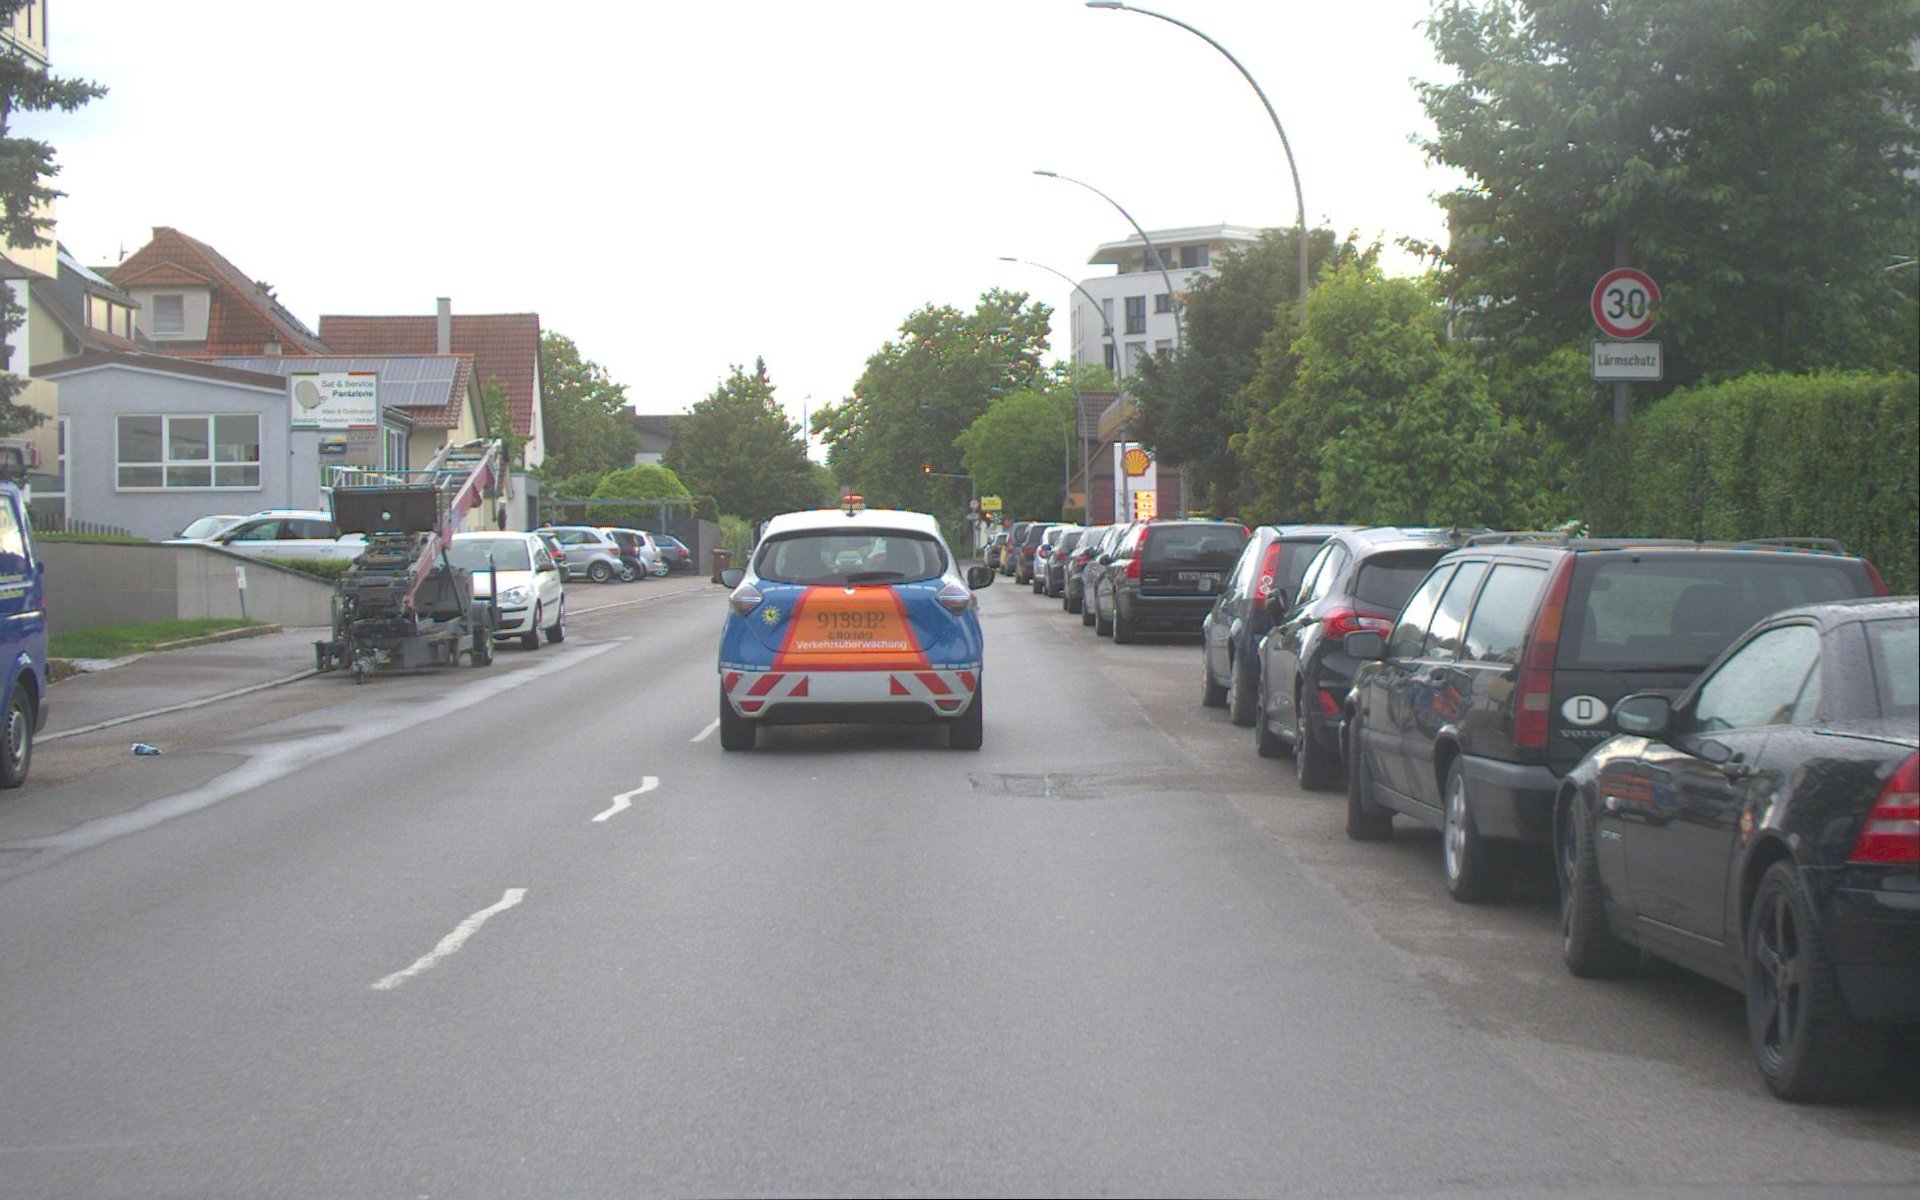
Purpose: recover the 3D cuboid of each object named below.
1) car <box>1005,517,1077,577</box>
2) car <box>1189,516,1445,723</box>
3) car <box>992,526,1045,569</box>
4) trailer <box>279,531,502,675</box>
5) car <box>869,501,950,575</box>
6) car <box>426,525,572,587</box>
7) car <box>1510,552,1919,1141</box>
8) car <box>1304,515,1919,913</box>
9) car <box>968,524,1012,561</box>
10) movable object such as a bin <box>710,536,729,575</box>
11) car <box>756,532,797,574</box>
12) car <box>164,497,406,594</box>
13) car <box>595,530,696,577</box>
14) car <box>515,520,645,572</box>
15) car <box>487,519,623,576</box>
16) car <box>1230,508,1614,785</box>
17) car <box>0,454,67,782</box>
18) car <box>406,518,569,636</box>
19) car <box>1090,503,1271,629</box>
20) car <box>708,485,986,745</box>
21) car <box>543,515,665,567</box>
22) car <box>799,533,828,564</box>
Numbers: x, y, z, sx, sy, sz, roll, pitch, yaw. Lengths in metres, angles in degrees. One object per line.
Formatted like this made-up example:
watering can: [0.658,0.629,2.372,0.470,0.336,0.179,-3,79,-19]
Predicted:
car: [2.120,-1.395,90.549,1.650,1.516,4.000,1,1,-2]
car: [2.635,0.090,26.056,1.487,1.434,3.807,1,1,-1]
car: [2.079,-1.884,123.143,1.650,1.478,4.000,1,1,-2]
trailer: [-6.052,-0.023,37.064,1.717,1.256,5.245,1,3,-2]
car: [-1.109,-1.319,73.705,1.650,1.516,4.000,1,1,-2]
car: [-11.674,-1.113,87.222,3.580,1.521,1.655,1,1,-4]
car: [2.831,0.575,10.134,1.589,1.336,4.093,2,1,-2]
car: [2.653,0.372,14.737,1.656,1.414,4.778,1,1,-3]
car: [1.262,-2.416,144.255,1.650,1.478,4.000,1,1,-2]
movable object such as a bin: [-7.564,-1.398,108.102,0.579,1.200,0.318,0,1,0]
car: [-6.551,-1.700,123.056,1.386,1.478,3.784,-1,1,-2]
car: [-11.344,-0.923,57.913,3.759,1.562,1.655,1,1,-1]
car: [-10.434,-1.535,114.077,3.281,1.443,1.480,-2,1,-4]
car: [-11.285,-1.600,102.164,3.759,1.478,1.655,1,1,-4]
car: [-11.495,-1.499,97.803,3.759,1.571,1.655,1,1,-4]
car: [2.609,0.197,20.217,1.657,1.444,3.830,1,2,-1]
car: [-6.668,0.133,19.280,1.993,1.940,5.366,0,2,-1]
car: [-6.063,-0.316,44.431,1.557,1.428,4.000,1,1,0]
car: [2.634,-0.429,42.002,1.711,1.433,4.527,1,1,-3]
car: [-0.743,0.065,23.361,1.731,1.625,3.495,-1,1,-1]
car: [-10.974,-1.836,106.079,3.653,1.478,1.480,-2,1,-4]
car: [-6.016,-2.128,141.338,1.151,1.228,3.373,-1,2,-2]
